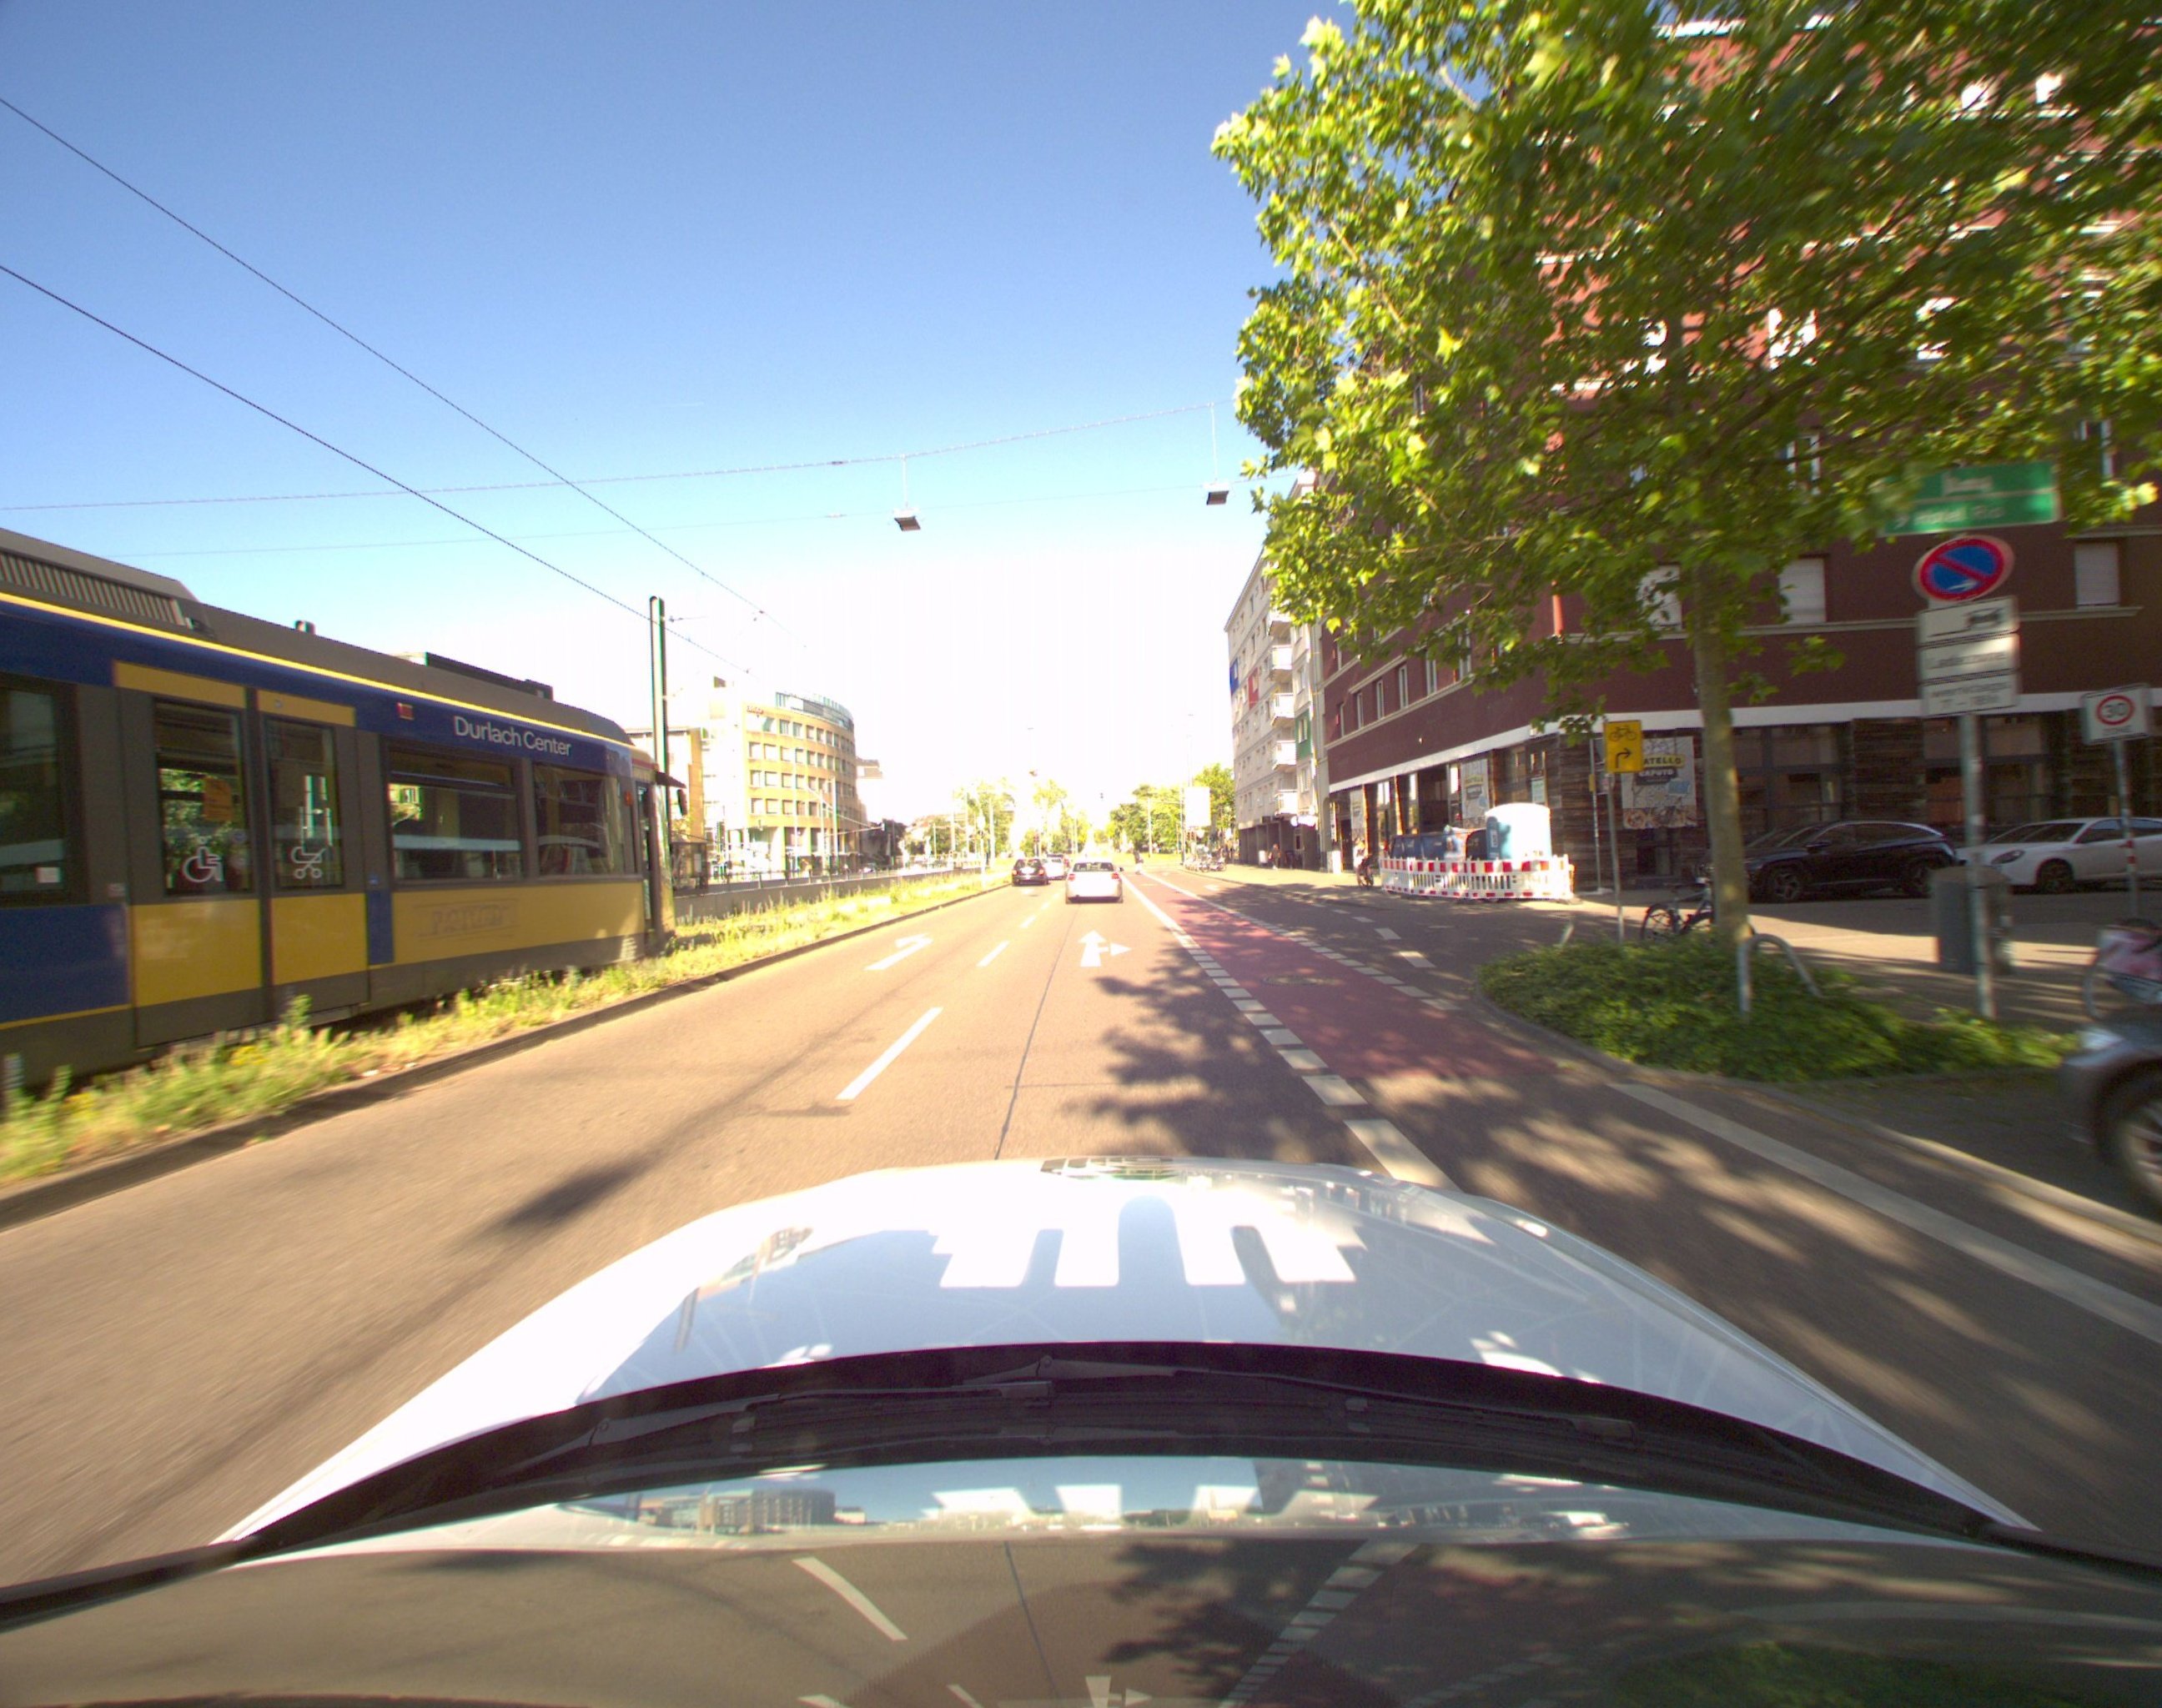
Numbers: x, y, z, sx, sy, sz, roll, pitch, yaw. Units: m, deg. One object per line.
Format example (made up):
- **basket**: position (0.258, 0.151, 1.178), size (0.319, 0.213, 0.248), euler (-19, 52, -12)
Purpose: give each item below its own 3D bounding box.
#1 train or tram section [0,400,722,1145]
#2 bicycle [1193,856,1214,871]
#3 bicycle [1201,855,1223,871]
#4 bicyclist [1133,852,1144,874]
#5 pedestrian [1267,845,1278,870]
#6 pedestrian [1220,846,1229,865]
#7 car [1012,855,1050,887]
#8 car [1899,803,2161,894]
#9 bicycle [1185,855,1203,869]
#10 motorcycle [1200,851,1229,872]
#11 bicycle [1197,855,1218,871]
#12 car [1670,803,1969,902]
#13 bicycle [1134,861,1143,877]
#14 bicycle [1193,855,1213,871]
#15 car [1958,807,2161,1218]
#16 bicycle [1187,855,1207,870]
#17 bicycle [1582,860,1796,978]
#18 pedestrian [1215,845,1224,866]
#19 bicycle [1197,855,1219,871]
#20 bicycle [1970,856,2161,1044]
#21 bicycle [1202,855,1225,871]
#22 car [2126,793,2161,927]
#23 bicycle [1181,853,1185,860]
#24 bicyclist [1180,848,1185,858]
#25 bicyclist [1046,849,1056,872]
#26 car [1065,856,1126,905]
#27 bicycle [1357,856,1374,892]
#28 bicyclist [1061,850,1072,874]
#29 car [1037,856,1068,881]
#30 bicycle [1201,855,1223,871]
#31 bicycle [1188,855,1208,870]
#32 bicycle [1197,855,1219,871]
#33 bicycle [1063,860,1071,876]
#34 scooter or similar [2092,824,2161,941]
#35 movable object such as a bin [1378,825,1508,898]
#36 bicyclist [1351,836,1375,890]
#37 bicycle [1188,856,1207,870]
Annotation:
- **train or tram section**: position (-7.052, -0.406, 6.938), size (2.942, 3.897, 10.805), euler (-1, 0, 1)
- **bicycle**: position (9.183, 0.697, 61.065), size (1.459, 1.067, 0.257), euler (-3, -1, 3)
- **bicycle**: position (9.255, 0.626, 57.664), size (1.459, 1.067, 0.257), euler (-3, -1, 3)
- **bicyclist**: position (4.093, 0.620, 57.928), size (0.782, 1.531, 0.895), euler (-1, -1, 1)
- **pedestrian**: position (12.132, 0.206, 51.512), size (0.570, 1.582, 0.557), euler (-1, 0, 1)
- **pedestrian**: position (14.258, 0.155, 80.782), size (0.819, 1.856, 0.921), euler (-1, -1, 16)
- **car**: position (-2.507, 0.844, 41.850), size (1.721, 1.470, 4.408), euler (-2, 0, -1)
- **car**: position (19.751, -0.116, 16.606), size (4.097, 1.658, 2.000), euler (-2, 0, 1)
- **bicycle**: position (9.299, 0.647, 67.031), size (1.459, 1.067, 0.257), euler (-3, -1, 3)
- **motorcycle**: position (9.034, 0.498, 55.040), size (1.846, 1.301, 0.653), euler (-3, -1, 4)
- **bicycle**: position (9.198, 0.665, 59.330), size (1.459, 1.067, 0.257), euler (-3, -1, 3)
- **car**: position (15.033, 0.000, 16.785), size (4.284, 1.788, 1.995), euler (-2, -2, 1)
- **bicycle**: position (4.097, 1.058, 57.928), size (0.497, 1.088, 1.997), euler (-1, 0, 1)
- **bicycle**: position (9.185, 0.681, 61.433), size (1.459, 1.067, 0.257), euler (-3, -1, 3)
- **car**: position (4.940, 0.585, 1.569), size (1.783, 1.555, 4.437), euler (-1, 0, 1)
- **bicycle**: position (9.228, 0.682, 64.683), size (1.459, 1.067, 0.257), euler (-3, -1, 3)
- **bicycle**: position (6.787, 0.660, 9.279), size (0.579, 1.162, 2.233), euler (0, 0, -6)
- **pedestrian**: position (13.500, 0.110, 79.291), size (0.786, 2.014, 0.872), euler (-1, -1, 8)
- **bicycle**: position (9.052, 0.640, 58.153), size (1.459, 1.067, 0.257), euler (-3, -1, 3)
- **bicycle**: position (6.917, 0.591, 5.326), size (0.485, 1.136, 1.694), euler (-2, 0, 7)
- **bicycle**: position (9.184, 0.617, 56.510), size (1.459, 1.067, 0.257), euler (-3, -1, 3)
- **car**: position (16.857, 0.007, 10.352), size (4.508, 1.816, 2.000), euler (-2, 0, 1)
- **bicycle**: position (14.057, 0.355, 112.249), size (0.350, 0.958, 1.574), euler (-1, 0, 3)
- **bicyclist**: position (14.033, -0.103, 112.208), size (0.614, 1.380, 0.687), euler (-1, -1, 2)
- **bicyclist**: position (-2.033, 0.419, 55.569), size (0.614, 1.572, 0.687), euler (-1, -1, 2)
- **car**: position (0.466, 0.791, 26.347), size (1.791, 1.415, 4.001), euler (-1, 0, 1)
- **bicycle**: position (9.136, 0.612, 26.159), size (0.315, 1.085, 1.691), euler (-2, 0, 14)
- **bicyclist**: position (-1.017, 0.550, 55.785), size (0.616, 1.571, 0.684), euler (-1, 0, -10)
- **car**: position (-1.710, 0.853, 50.036), size (1.638, 1.421, 4.001), euler (-1, 0, 1)
- **bicycle**: position (9.226, 0.622, 57.270), size (1.459, 1.067, 0.257), euler (-3, -1, 3)
- **bicycle**: position (9.164, 0.676, 63.711), size (1.459, 1.067, 0.257), euler (-3, -1, 3)
- **bicycle**: position (9.188, 0.672, 58.958), size (1.459, 1.067, 0.257), euler (-3, -1, 3)
- **bicycle**: position (-0.957, 0.975, 55.742), size (0.338, 1.056, 1.773), euler (-1, 0, -8)
- **scooter or similar**: position (12.128, 0.310, 8.963), size (0.383, 1.285, 1.195), euler (0, -1, -28)
- **movable object such as a bin**: position (10.184, 0.171, 23.193), size (1.942, 1.843, 3.475), euler (-2, 1, -4)
- **bicyclist**: position (9.054, 0.272, 26.171), size (0.597, 1.690, 0.599), euler (-2, 0, 12)
- **bicycle**: position (9.208, 0.697, 64.367), size (1.459, 1.067, 0.257), euler (-3, -1, 3)
